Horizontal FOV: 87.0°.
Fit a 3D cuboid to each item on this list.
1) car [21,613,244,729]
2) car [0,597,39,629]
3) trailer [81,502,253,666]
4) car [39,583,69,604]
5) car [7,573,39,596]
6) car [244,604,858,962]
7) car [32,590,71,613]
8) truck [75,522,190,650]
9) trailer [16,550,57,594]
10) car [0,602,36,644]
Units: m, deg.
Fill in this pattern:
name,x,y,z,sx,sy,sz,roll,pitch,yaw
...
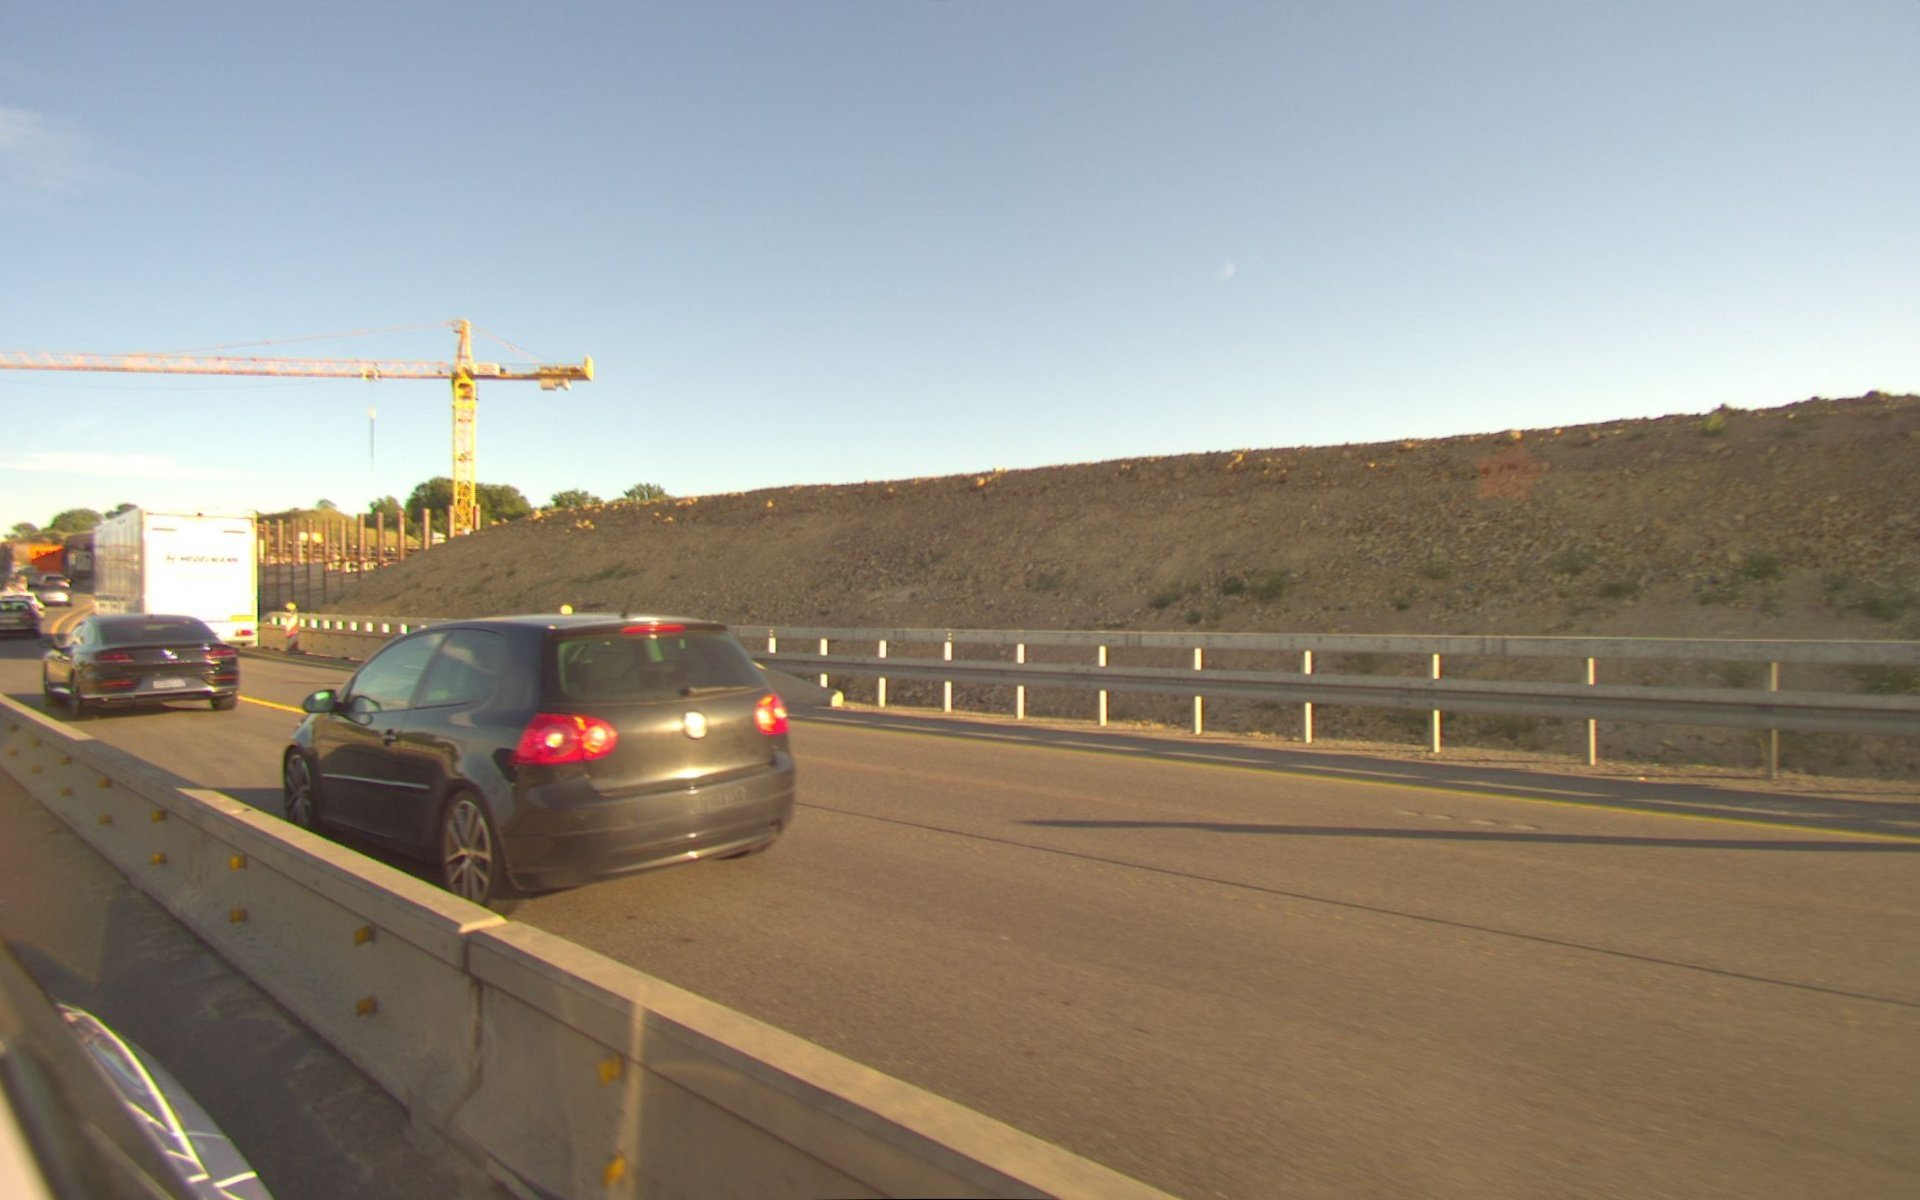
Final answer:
name,x,y,z,sx,sy,sz,roll,pitch,yaw
car,-12.140,0.911,14.746,4.493,1.420,1.817,-1,0,41
car,-46.260,0.615,49.398,1.768,1.500,4.223,0,0,-44
trailer,-25.375,-0.487,31.963,13.941,4.245,2.502,0,2,45
car,-74.297,-0.571,83.011,1.767,1.631,4.881,-1,2,-41
car,-90.127,-1.522,97.409,1.969,2.028,5.266,-1,2,-40
car,-2.717,0.753,6.129,4.325,1.420,1.697,-1,0,41
car,-58.507,0.090,65.198,1.767,1.367,4.642,-1,2,-41
truck,-29.952,-0.510,36.563,6.053,4.252,2.524,0,1,45
trailer,-100.350,-3.122,109.876,14.143,4.504,2.555,2,3,45
car,-35.557,0.821,37.501,1.828,1.494,4.514,1,0,-44
